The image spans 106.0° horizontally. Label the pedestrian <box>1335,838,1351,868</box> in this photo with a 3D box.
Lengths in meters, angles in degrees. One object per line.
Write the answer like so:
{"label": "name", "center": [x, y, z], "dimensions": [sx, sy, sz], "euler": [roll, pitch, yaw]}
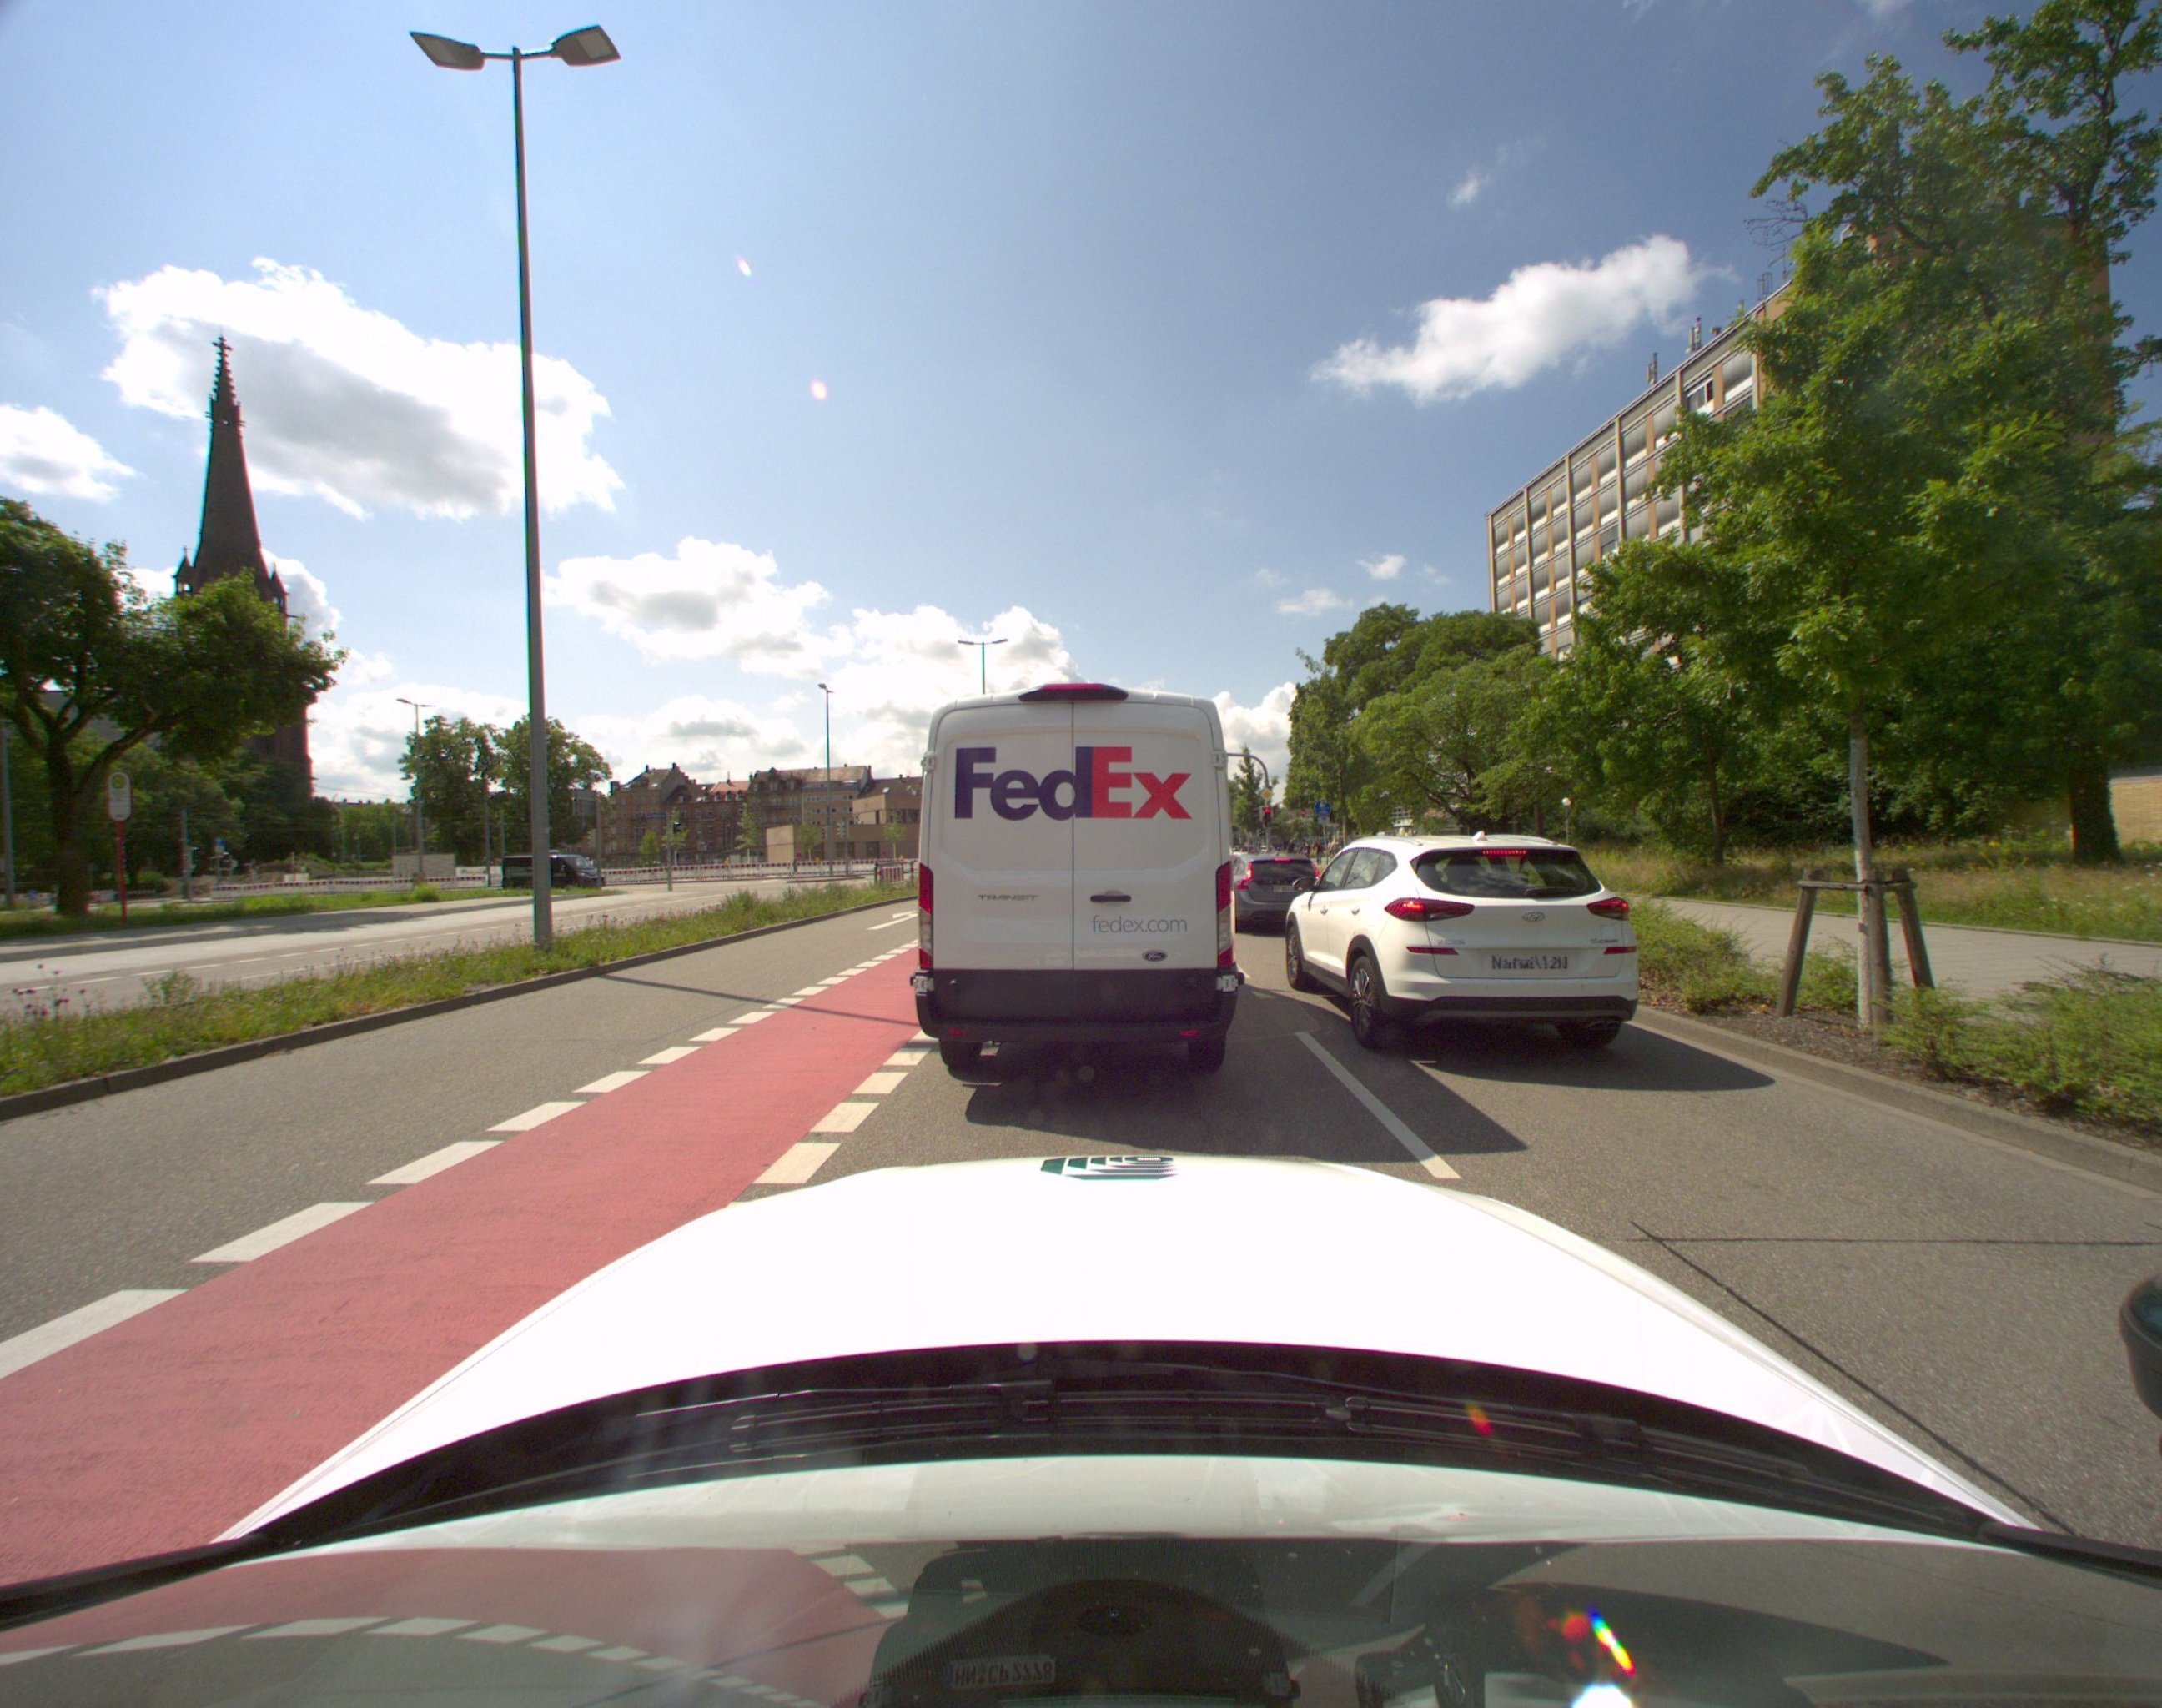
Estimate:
{"label": "pedestrian", "center": [17.713, -0.077, 55.101], "dimensions": [0.842, 2.013, 0.741], "euler": [-2, 0, 1]}

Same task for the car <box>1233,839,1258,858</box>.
{"label": "car", "center": [18.203, -0.587, 90.069], "dimensions": [2.076, 2.014, 4.666], "euler": [-2, 0, 19]}

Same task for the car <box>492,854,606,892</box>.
{"label": "car", "center": [-29.665, 1.048, 45.536], "dimensions": [4.995, 1.879, 1.928], "euler": [-2, 0, -2]}

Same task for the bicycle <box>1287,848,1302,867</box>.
{"label": "bicycle", "center": [15.147, 0.212, 57.865], "dimensions": [0.597, 1.290, 2.083], "euler": [-2, 0, 26]}

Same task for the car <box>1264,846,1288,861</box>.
{"label": "car", "center": [24.742, -0.019, 103.126], "dimensions": [1.975, 1.794, 4.397], "euler": [-2, -1, 27]}

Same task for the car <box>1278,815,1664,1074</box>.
{"label": "car", "center": [3.074, 0.596, 7.423], "dimensions": [1.790, 1.687, 4.004], "euler": [-2, 0, 4]}

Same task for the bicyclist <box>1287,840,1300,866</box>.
{"label": "bicyclist", "center": [15.022, -0.079, 57.637], "dimensions": [0.586, 1.844, 1.129], "euler": [-1, 1, 27]}

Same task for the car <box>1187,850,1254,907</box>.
{"label": "car", "center": [3.848, 0.618, 22.822], "dimensions": [1.478, 1.428, 3.436], "euler": [-2, 0, 4]}

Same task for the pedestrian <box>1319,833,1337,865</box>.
{"label": "pedestrian", "center": [16.420, -0.330, 54.159], "dimensions": [0.845, 2.058, 0.738], "euler": [-2, 0, -11]}

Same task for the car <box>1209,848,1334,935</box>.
{"label": "car", "center": [3.612, 0.648, 16.087], "dimensions": [1.790, 1.461, 3.842], "euler": [-2, 0, 4]}

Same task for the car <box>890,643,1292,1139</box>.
{"label": "car", "center": [0.051, 0.191, 7.269], "dimensions": [2.134, 2.652, 5.703], "euler": [-1, 0, 0]}

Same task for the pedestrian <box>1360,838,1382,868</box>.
{"label": "pedestrian", "center": [15.243, -0.075, 42.754], "dimensions": [0.842, 1.539, 0.835], "euler": [-2, 0, 1]}

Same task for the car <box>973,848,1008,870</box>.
{"label": "car", "center": [-8.719, 0.447, 78.819], "dimensions": [1.978, 2.014, 4.017], "euler": [-2, 0, 16]}

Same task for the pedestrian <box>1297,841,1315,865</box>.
{"label": "pedestrian", "center": [13.699, -0.058, 49.607], "dimensions": [0.842, 1.389, 0.741], "euler": [-2, 0, 1]}

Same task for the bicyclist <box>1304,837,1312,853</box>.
{"label": "bicyclist", "center": [20.633, -0.799, 74.062], "dimensions": [0.547, 1.474, 0.972], "euler": [-2, 0, 5]}

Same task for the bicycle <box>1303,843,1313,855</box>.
{"label": "bicycle", "center": [20.636, -0.470, 74.014], "dimensions": [0.543, 1.030, 1.930], "euler": [-2, 0, 6]}
